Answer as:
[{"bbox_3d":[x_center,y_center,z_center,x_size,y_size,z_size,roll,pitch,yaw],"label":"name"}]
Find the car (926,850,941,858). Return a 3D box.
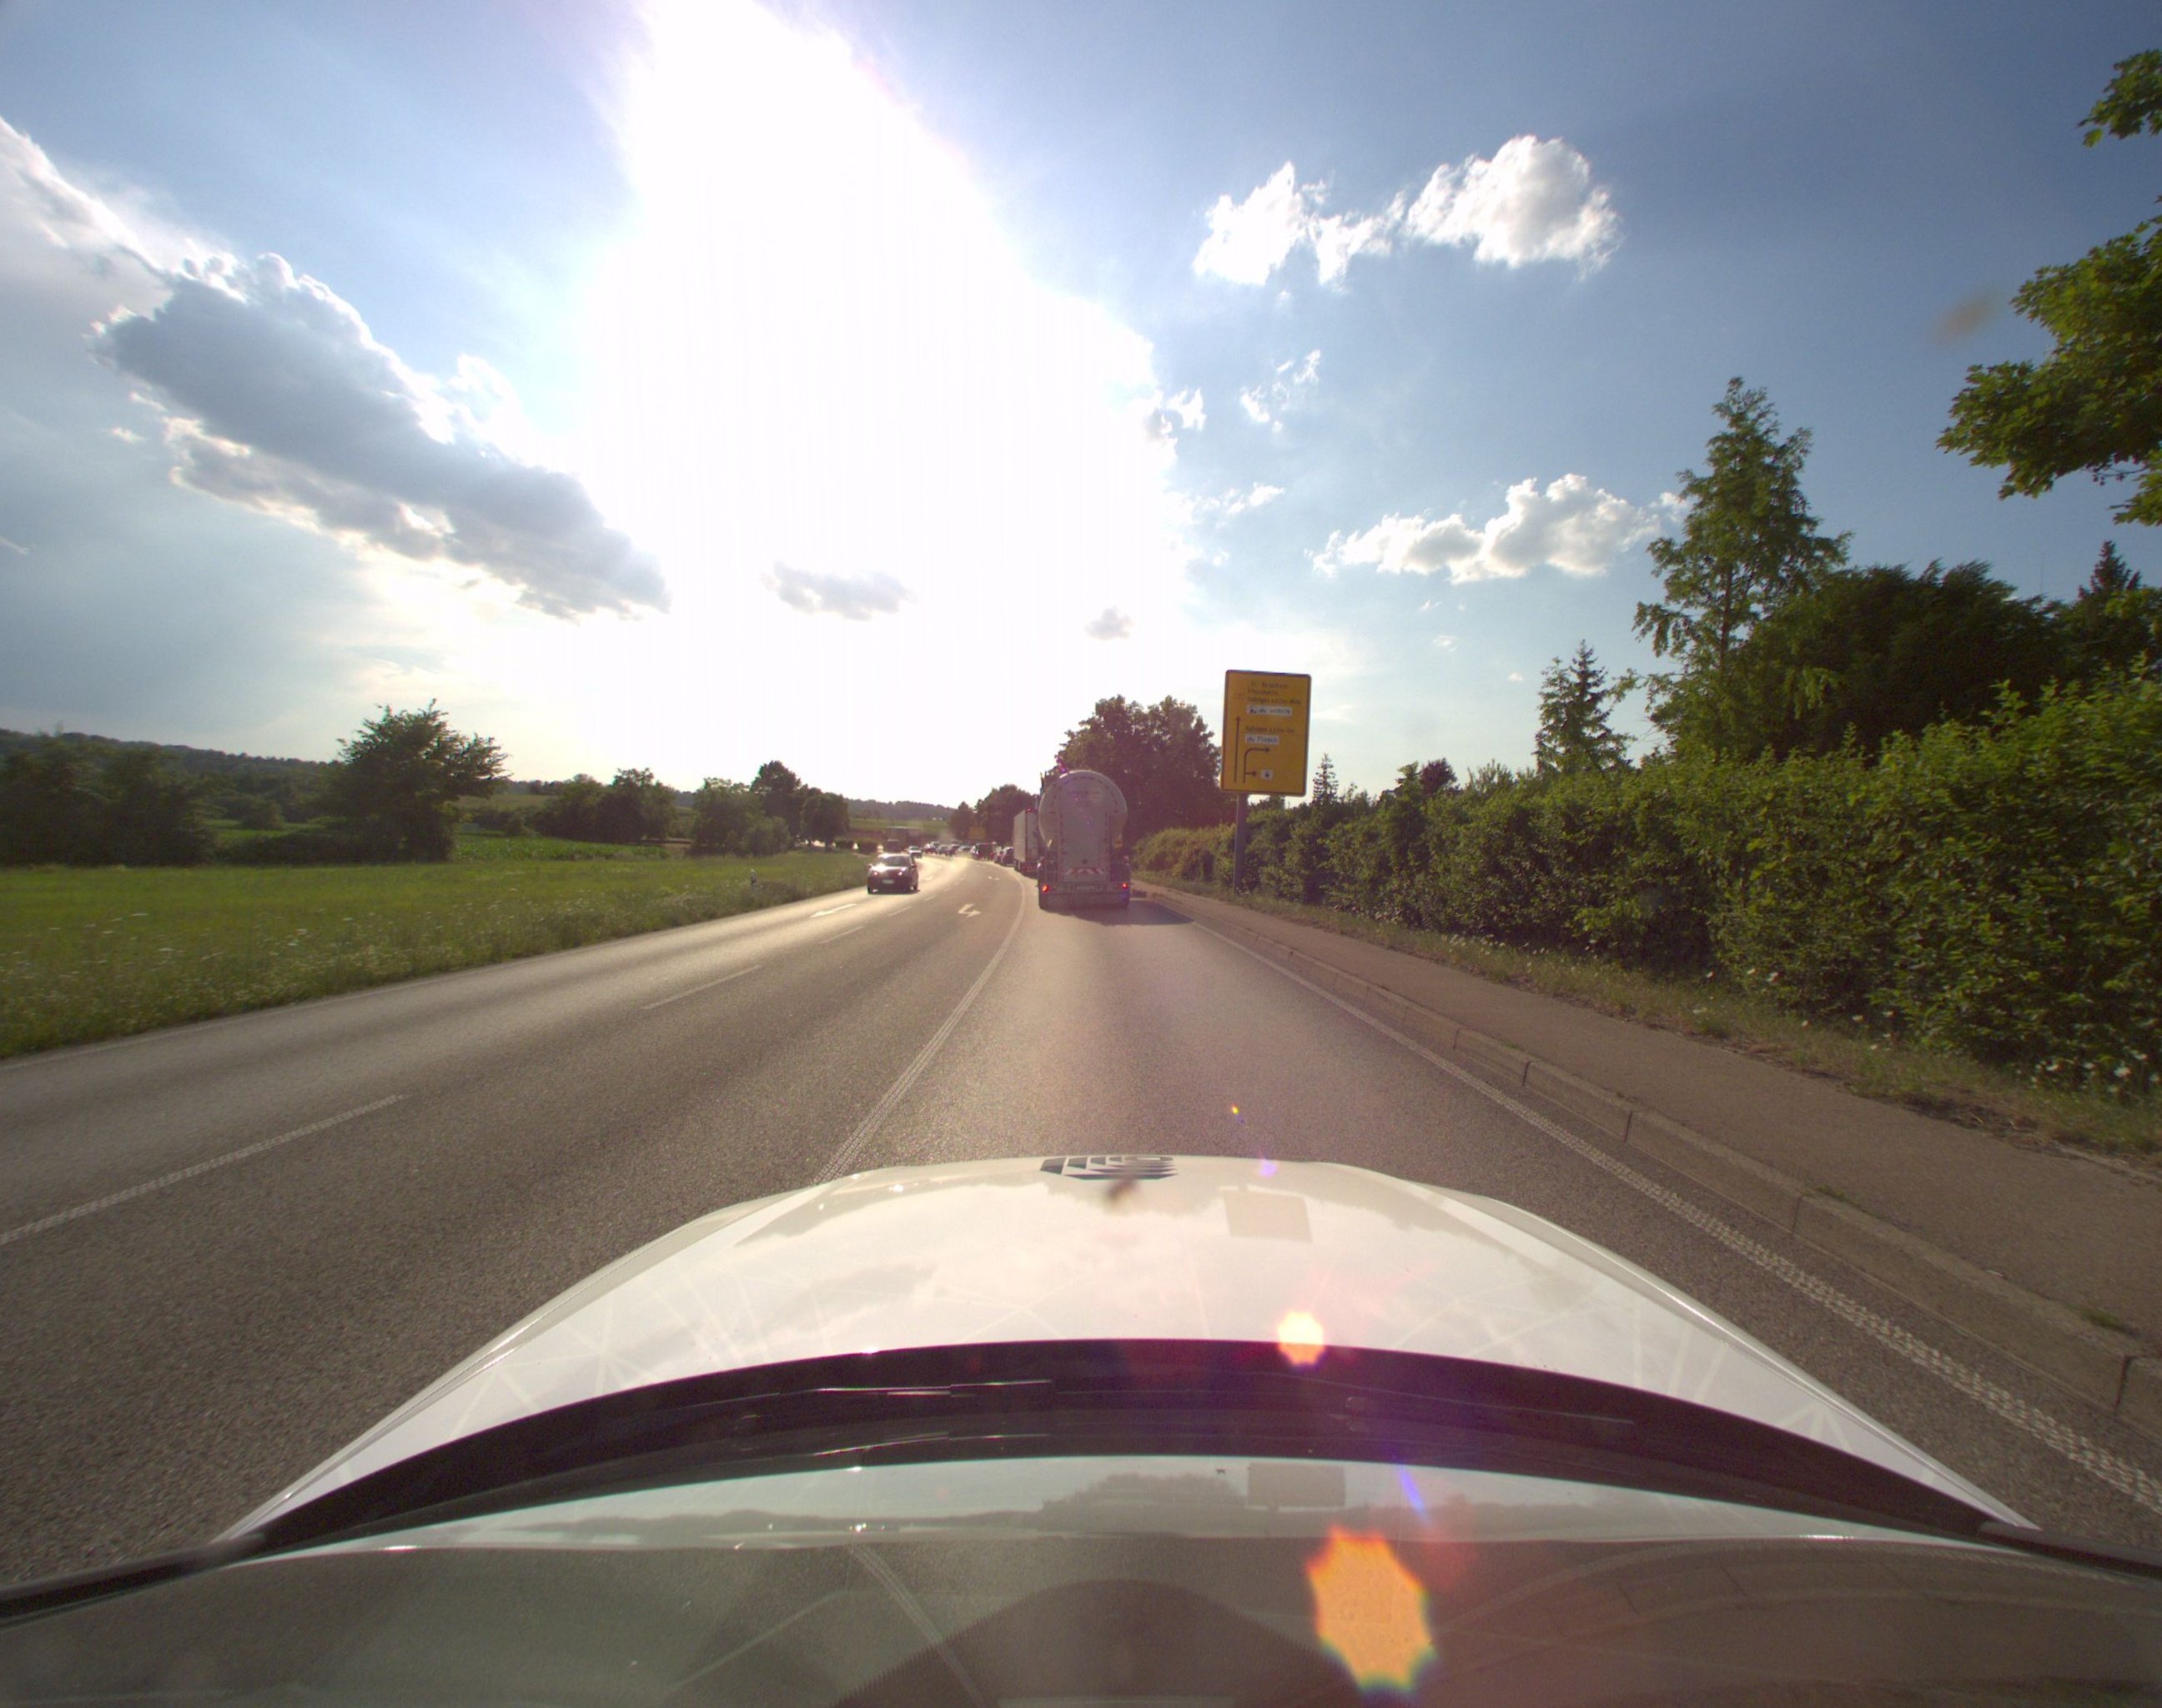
[{"bbox_3d":[-23.411,-0.071,129.394,1.776,1.205,3.402,1,0,-21],"label":"car"}]

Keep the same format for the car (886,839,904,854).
[{"bbox_3d":[-28.310,-1.105,123.838,2.005,2.136,4.747,0,0,-20],"label":"car"}]

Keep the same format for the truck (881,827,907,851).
[{"bbox_3d":[-35.312,-2.818,153.794,3.394,4.350,5.656,1,0,-27],"label":"truck"}]

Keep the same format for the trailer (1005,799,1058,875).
[{"bbox_3d":[-3.222,-1.034,53.637,2.948,4.315,14.159,1,0,-3],"label":"trailer"}]

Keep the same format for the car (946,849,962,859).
[{"bbox_3d":[-17.999,0.014,115.318,1.586,1.340,3.402,1,0,-21],"label":"car"}]

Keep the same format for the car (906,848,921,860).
[{"bbox_3d":[-21.712,-0.016,105.335,1.710,1.428,4.157,0,0,-15],"label":"car"}]

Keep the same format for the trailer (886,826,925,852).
[{"bbox_3d":[-31.632,-2.695,146.363,3.393,4.350,14.170,1,0,-26],"label":"trailer"}]

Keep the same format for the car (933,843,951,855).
[{"bbox_3d":[-24.027,-0.853,140.928,2.004,2.013,3.966,0,2,-26],"label":"car"}]

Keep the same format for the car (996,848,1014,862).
[{"bbox_3d":[-7.604,0.101,81.085,1.580,1.340,3.415,1,0,-9],"label":"car"}]

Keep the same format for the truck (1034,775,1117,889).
[{"bbox_3d":[-0.276,-0.795,30.859,2.903,4.006,4.056,0,0,-3],"label":"truck"}]

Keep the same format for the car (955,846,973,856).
[{"bbox_3d":[-15.727,-0.453,109.252,1.586,1.340,3.402,1,0,-21],"label":"car"}]

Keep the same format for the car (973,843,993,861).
[{"bbox_3d":[-11.434,-0.282,95.245,1.864,2.013,3.701,-1,1,-14],"label":"car"}]

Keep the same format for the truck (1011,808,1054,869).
[{"bbox_3d":[-3.605,-1.105,60.798,2.945,4.303,4.925,1,0,-3],"label":"truck"}]

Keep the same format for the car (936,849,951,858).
[{"bbox_3d":[-20.820,-0.083,123.096,1.586,1.340,3.402,1,0,-21],"label":"car"}]

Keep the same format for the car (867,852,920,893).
[{"bbox_3d":[-7.335,0.680,32.094,1.583,1.466,3.599,-2,0,-6],"label":"car"}]

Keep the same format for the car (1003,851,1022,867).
[{"bbox_3d":[-6.143,0.461,72.862,1.579,1.340,3.417,1,0,-7],"label":"car"}]

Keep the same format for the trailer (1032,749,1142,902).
[{"bbox_3d":[-0.070,-0.792,26.457,2.903,4.006,9.919,0,0,-3],"label":"trailer"}]
